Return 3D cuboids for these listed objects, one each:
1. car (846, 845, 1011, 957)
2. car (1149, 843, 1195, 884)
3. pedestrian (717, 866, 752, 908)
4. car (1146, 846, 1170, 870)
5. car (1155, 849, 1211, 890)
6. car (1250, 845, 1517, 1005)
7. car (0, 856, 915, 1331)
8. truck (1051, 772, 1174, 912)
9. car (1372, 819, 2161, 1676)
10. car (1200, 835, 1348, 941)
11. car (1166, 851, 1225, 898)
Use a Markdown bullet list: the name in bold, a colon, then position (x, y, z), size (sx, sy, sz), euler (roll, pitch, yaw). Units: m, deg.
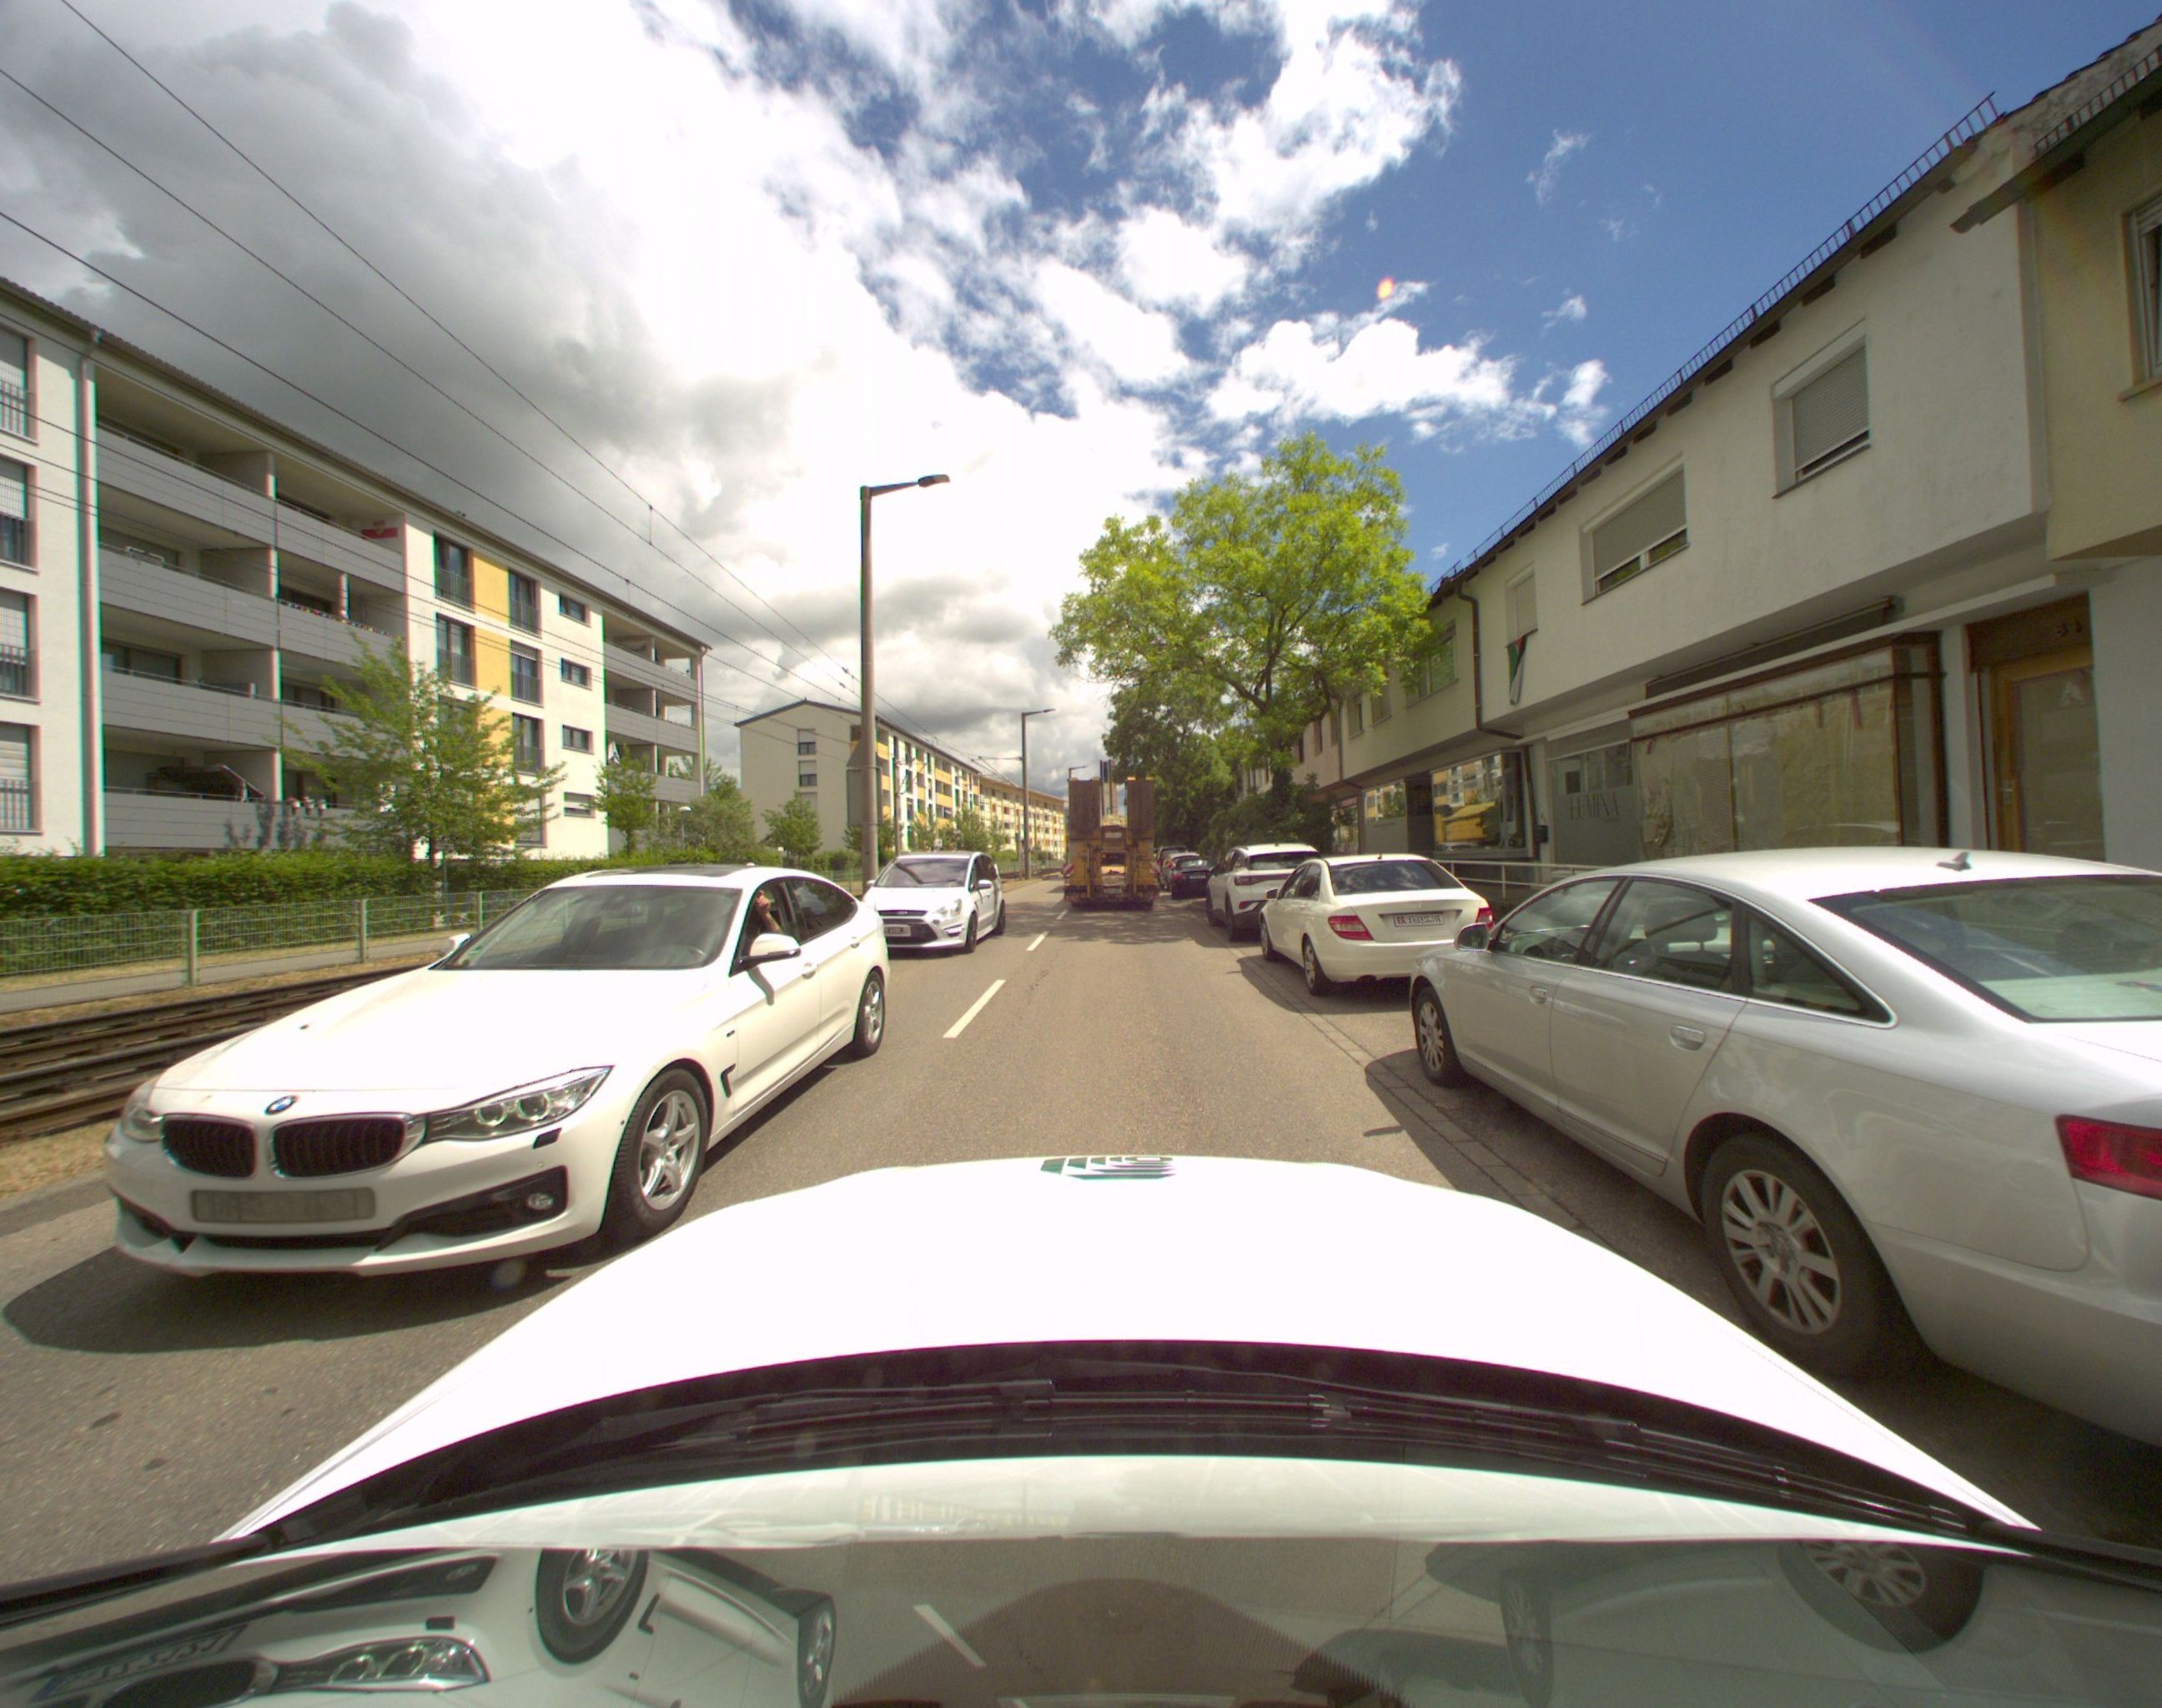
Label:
- **car**: position (-2.433, 0.689, 14.194), size (1.810, 1.614, 4.604), euler (-1, 0, 2)
- **car**: position (4.355, 0.430, 39.582), size (2.006, 1.788, 5.082), euler (-3, 0, 4)
- **pedestrian**: position (-12.638, 1.202, 29.737), size (0.793, 1.483, 0.996), euler (-1, 0, 2)
- **car**: position (6.960, 0.352, 73.870), size (1.906, 1.958, 5.750), euler (-3, 0, 3)
- **car**: position (4.110, 0.599, 33.264), size (1.765, 1.442, 3.900), euler (-4, 0, 1)
- **car**: position (3.232, 0.659, 9.713), size (1.717, 1.426, 4.449), euler (-2, 0, 3)
- **car**: position (-2.500, 0.774, 5.024), size (1.810, 1.502, 4.839), euler (-1, 0, 2)
- **truck**: position (1.016, -0.317, 27.416), size (3.112, 3.564, 12.464), euler (-1, 0, 2)
- **car**: position (2.965, 0.660, 3.764), size (1.805, 1.498, 4.917), euler (-2, 0, 5)
- **car**: position (3.385, 0.544, 15.152), size (1.830, 1.643, 4.432), euler (-1, 0, 2)
- **car**: position (3.866, 0.650, 27.881), size (1.762, 1.349, 4.007), euler (-4, 0, 6)
